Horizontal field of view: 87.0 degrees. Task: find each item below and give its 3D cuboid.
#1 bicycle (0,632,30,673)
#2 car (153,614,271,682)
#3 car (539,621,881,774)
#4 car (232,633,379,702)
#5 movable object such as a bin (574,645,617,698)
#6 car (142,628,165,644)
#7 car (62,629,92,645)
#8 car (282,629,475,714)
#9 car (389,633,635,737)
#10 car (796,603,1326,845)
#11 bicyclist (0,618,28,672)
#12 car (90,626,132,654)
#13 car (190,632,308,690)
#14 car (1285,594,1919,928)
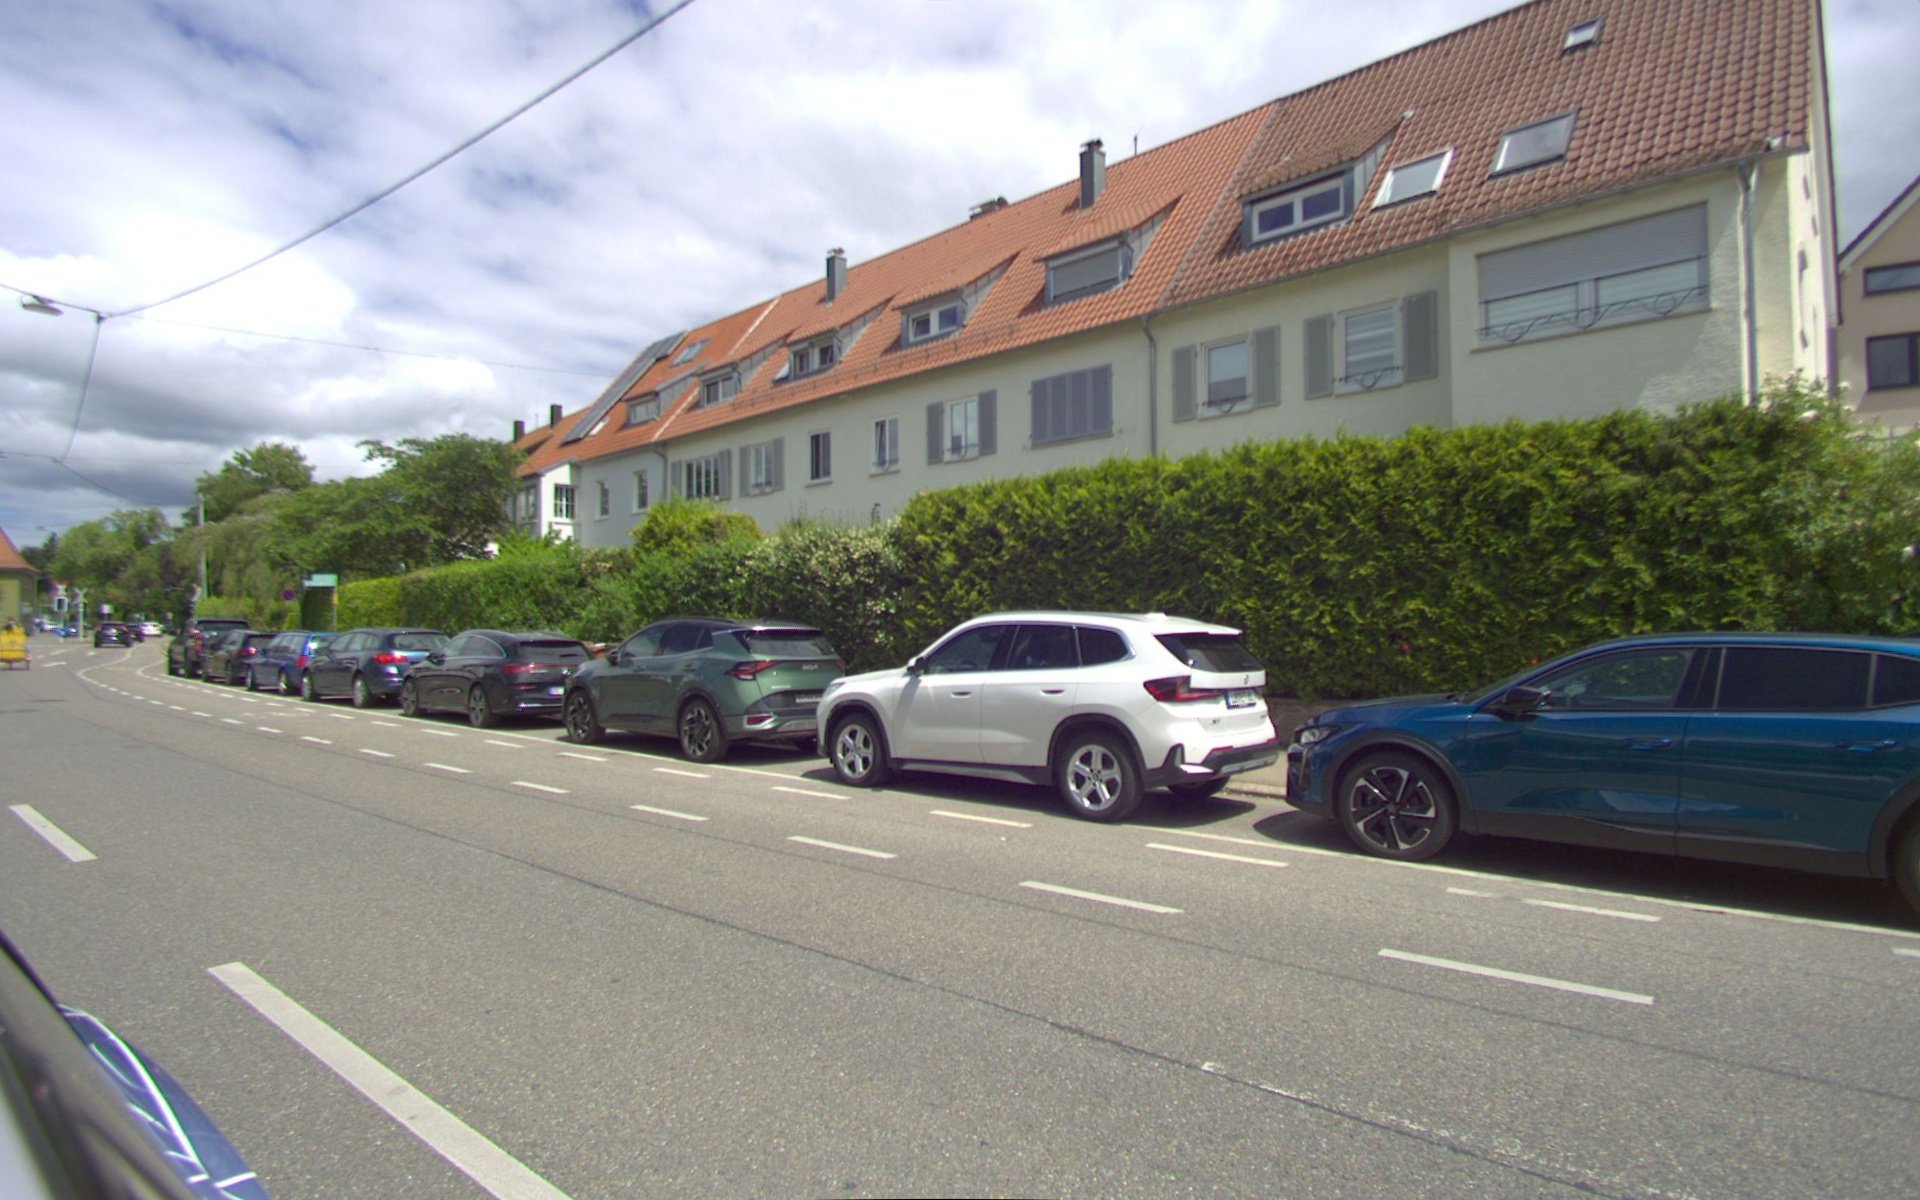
[{"bbox_3d":[-31.435,1.707,33.476,2.662,1.311,0.854,-2,-2,45],"label":"bicycle"},{"bbox_3d":[-23.080,1.462,31.149,5.404,1.909,1.971,-2,-4,44],"label":"car"},{"bbox_3d":[-3.302,1.069,12.778,4.689,1.576,1.972,-2,-2,43],"label":"car"},{"bbox_3d":[-15.356,1.507,23.648,4.438,1.428,1.759,-1,-2,42],"label":"car"},{"bbox_3d":[-7.369,1.429,20.459,0.635,1.010,0.571,-1,0,38],"label":"movable object such as a bin"},{"bbox_3d":[-81.947,3.629,102.785,1.824,1.587,4.167,0,-1,-39],"label":"car"},{"bbox_3d":[-90.039,3.731,103.244,1.967,1.438,4.009,-1,0,-36],"label":"car"},{"bbox_3d":[-11.530,1.318,19.951,4.560,1.503,1.760,-1,-2,39],"label":"car"},{"bbox_3d":[-7.380,1.260,16.434,4.689,1.419,1.972,-2,-2,43],"label":"car"},{"bbox_3d":[0.726,0.912,9.218,4.515,1.663,1.973,-1,-2,41],"label":"car"},{"bbox_3d":[-31.369,1.479,33.422,0.783,1.727,1.209,2,-2,-44],"label":"bicyclist"},{"bbox_3d":[-55.340,2.584,66.016,1.892,1.661,4.301,6,-5,-39],"label":"car"},{"bbox_3d":[-19.172,1.574,27.229,4.340,1.428,1.758,-2,-2,43],"label":"car"},{"bbox_3d":[4.555,0.809,6.201,4.484,1.599,1.974,-1,-2,39],"label":"car"}]
